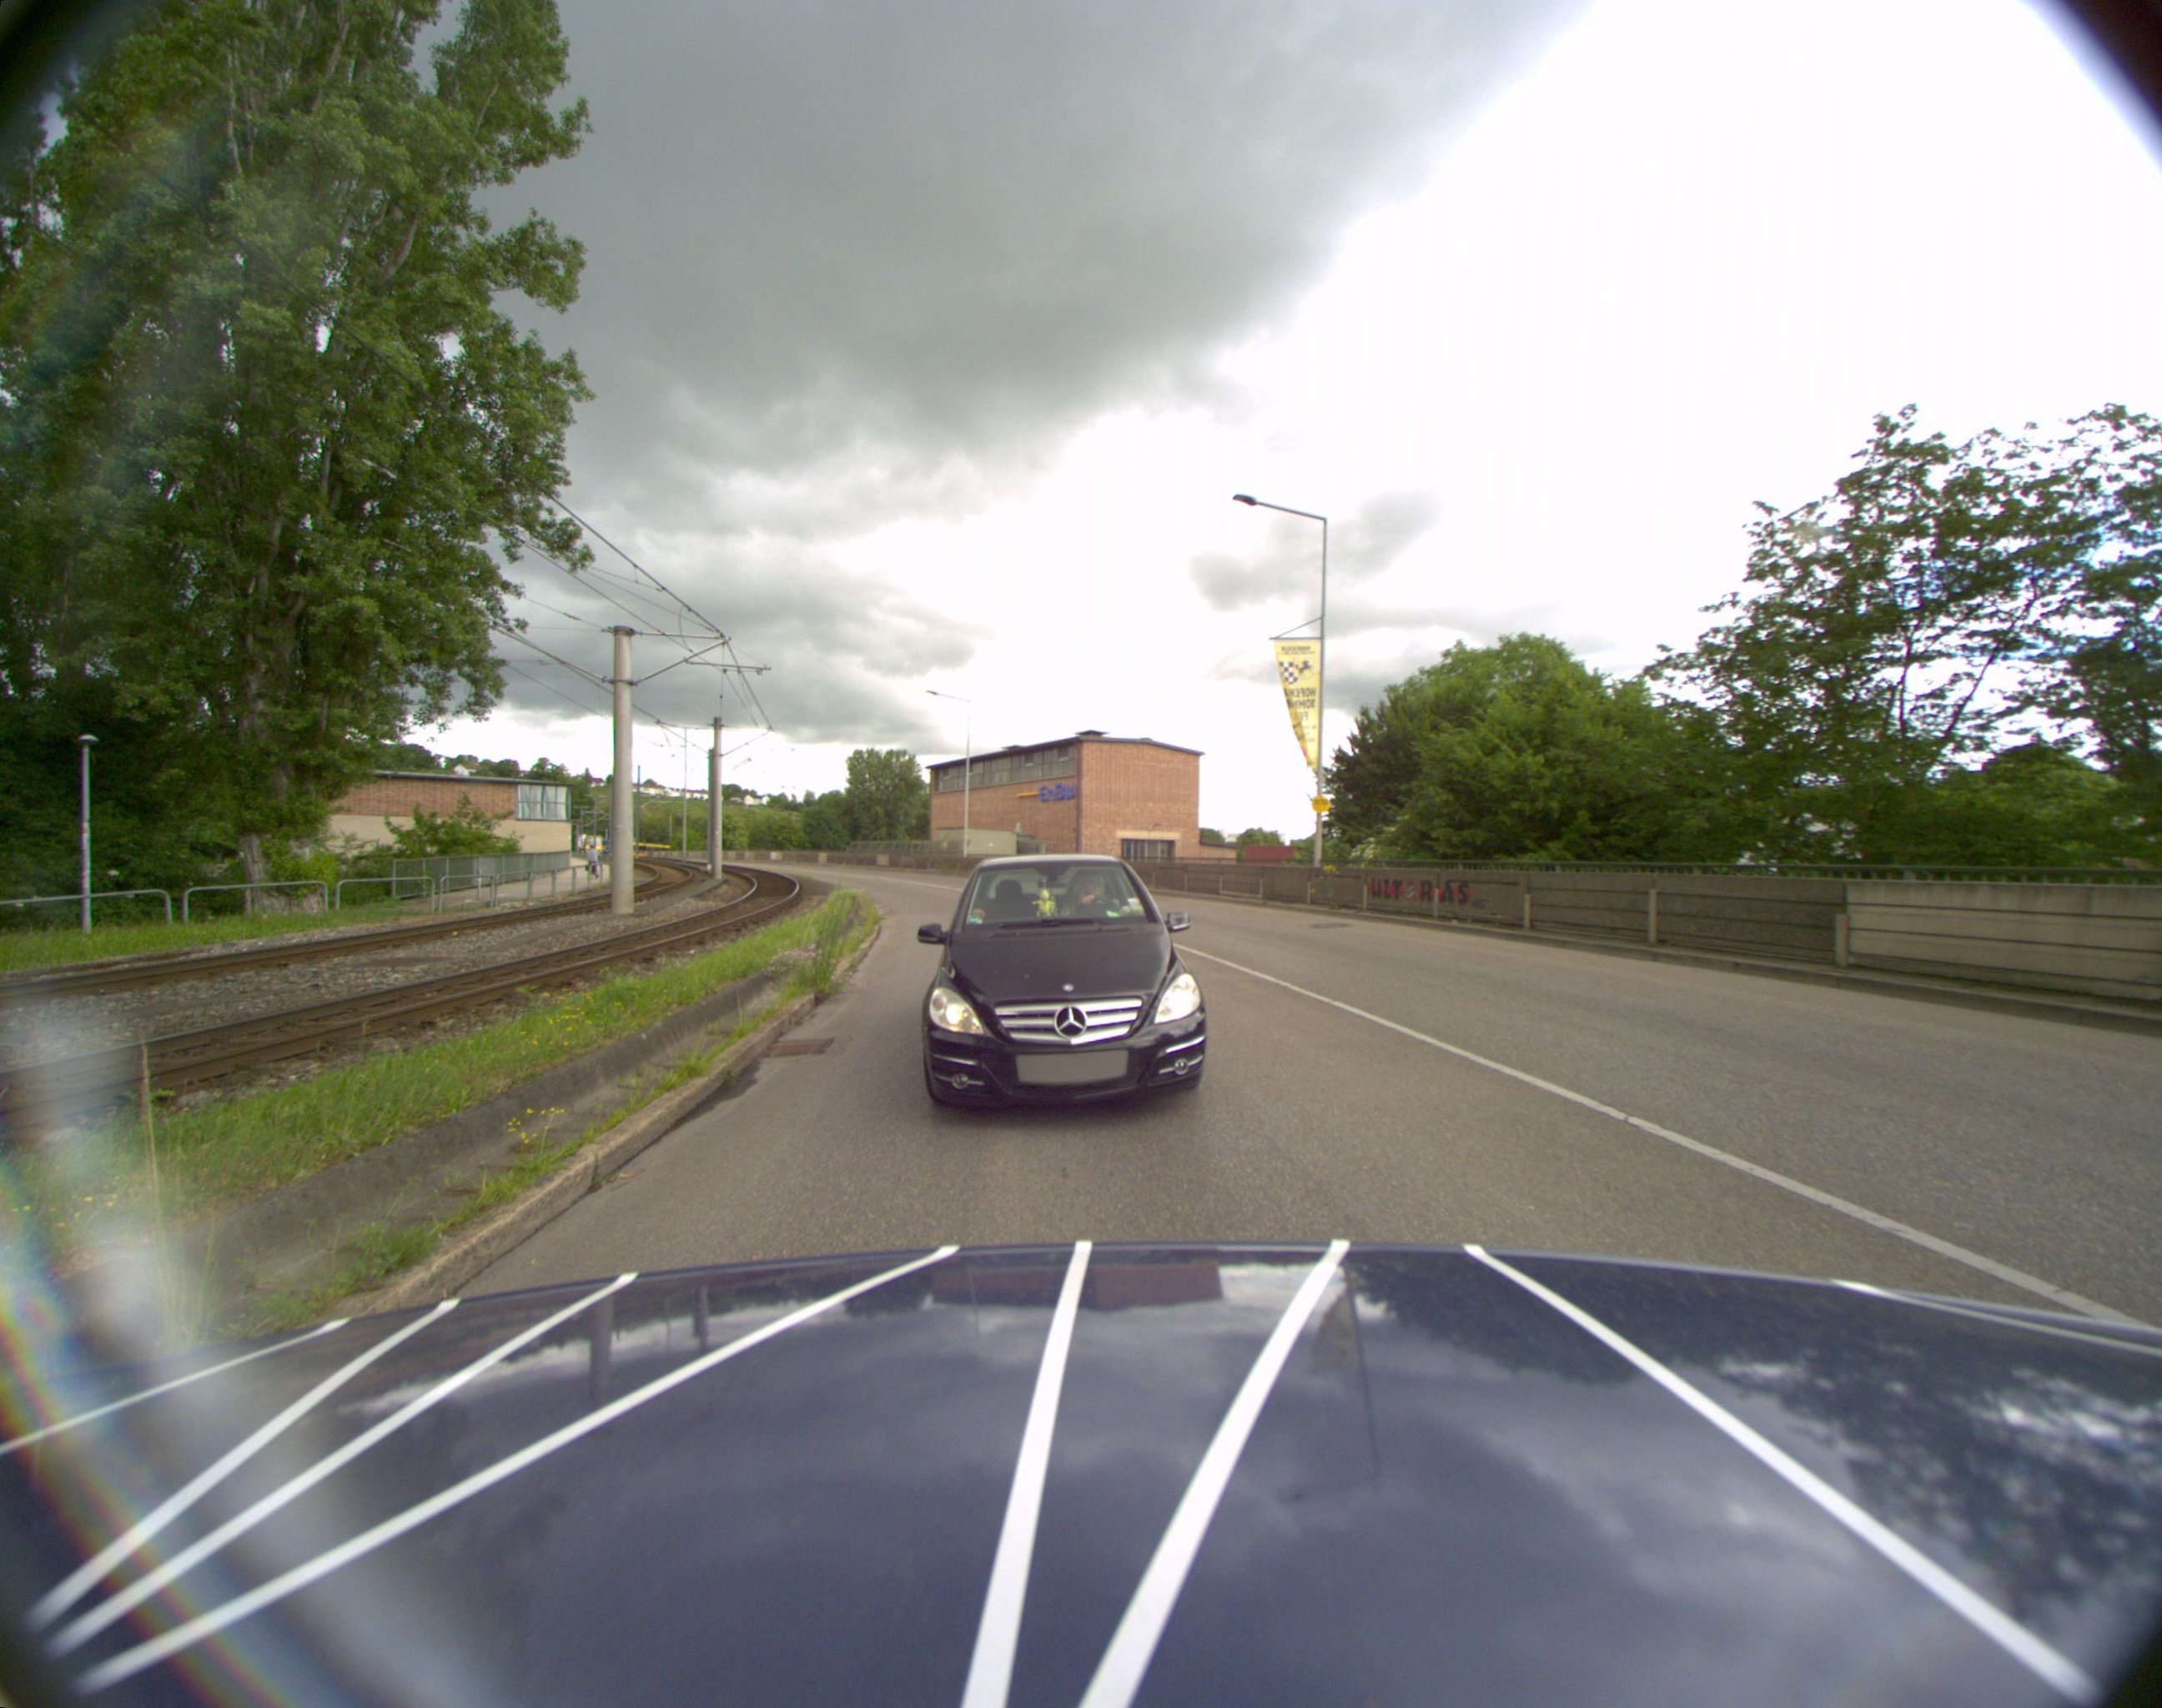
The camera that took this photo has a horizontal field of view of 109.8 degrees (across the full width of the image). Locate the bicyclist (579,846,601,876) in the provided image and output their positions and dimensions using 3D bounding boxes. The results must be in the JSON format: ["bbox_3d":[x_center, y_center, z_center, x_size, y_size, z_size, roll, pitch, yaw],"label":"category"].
[{"bbox_3d":[-22.833,0.317,35.353,0.596,1.352,0.909,-1,1,-15],"label":"bicyclist"}]

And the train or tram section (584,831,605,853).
[{"bbox_3d":[-90.644,-2.248,141.621,3.038,3.896,9.416,0,1,-34],"label":"train or tram section"}]

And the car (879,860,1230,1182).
[{"bbox_3d":[-0.181,0.910,6.045,1.861,1.612,3.998,0,1,-1],"label":"car"}]

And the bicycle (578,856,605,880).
[{"bbox_3d":[-22.827,0.647,35.453,0.427,1.044,2.077,-1,1,-15],"label":"bicycle"}]
